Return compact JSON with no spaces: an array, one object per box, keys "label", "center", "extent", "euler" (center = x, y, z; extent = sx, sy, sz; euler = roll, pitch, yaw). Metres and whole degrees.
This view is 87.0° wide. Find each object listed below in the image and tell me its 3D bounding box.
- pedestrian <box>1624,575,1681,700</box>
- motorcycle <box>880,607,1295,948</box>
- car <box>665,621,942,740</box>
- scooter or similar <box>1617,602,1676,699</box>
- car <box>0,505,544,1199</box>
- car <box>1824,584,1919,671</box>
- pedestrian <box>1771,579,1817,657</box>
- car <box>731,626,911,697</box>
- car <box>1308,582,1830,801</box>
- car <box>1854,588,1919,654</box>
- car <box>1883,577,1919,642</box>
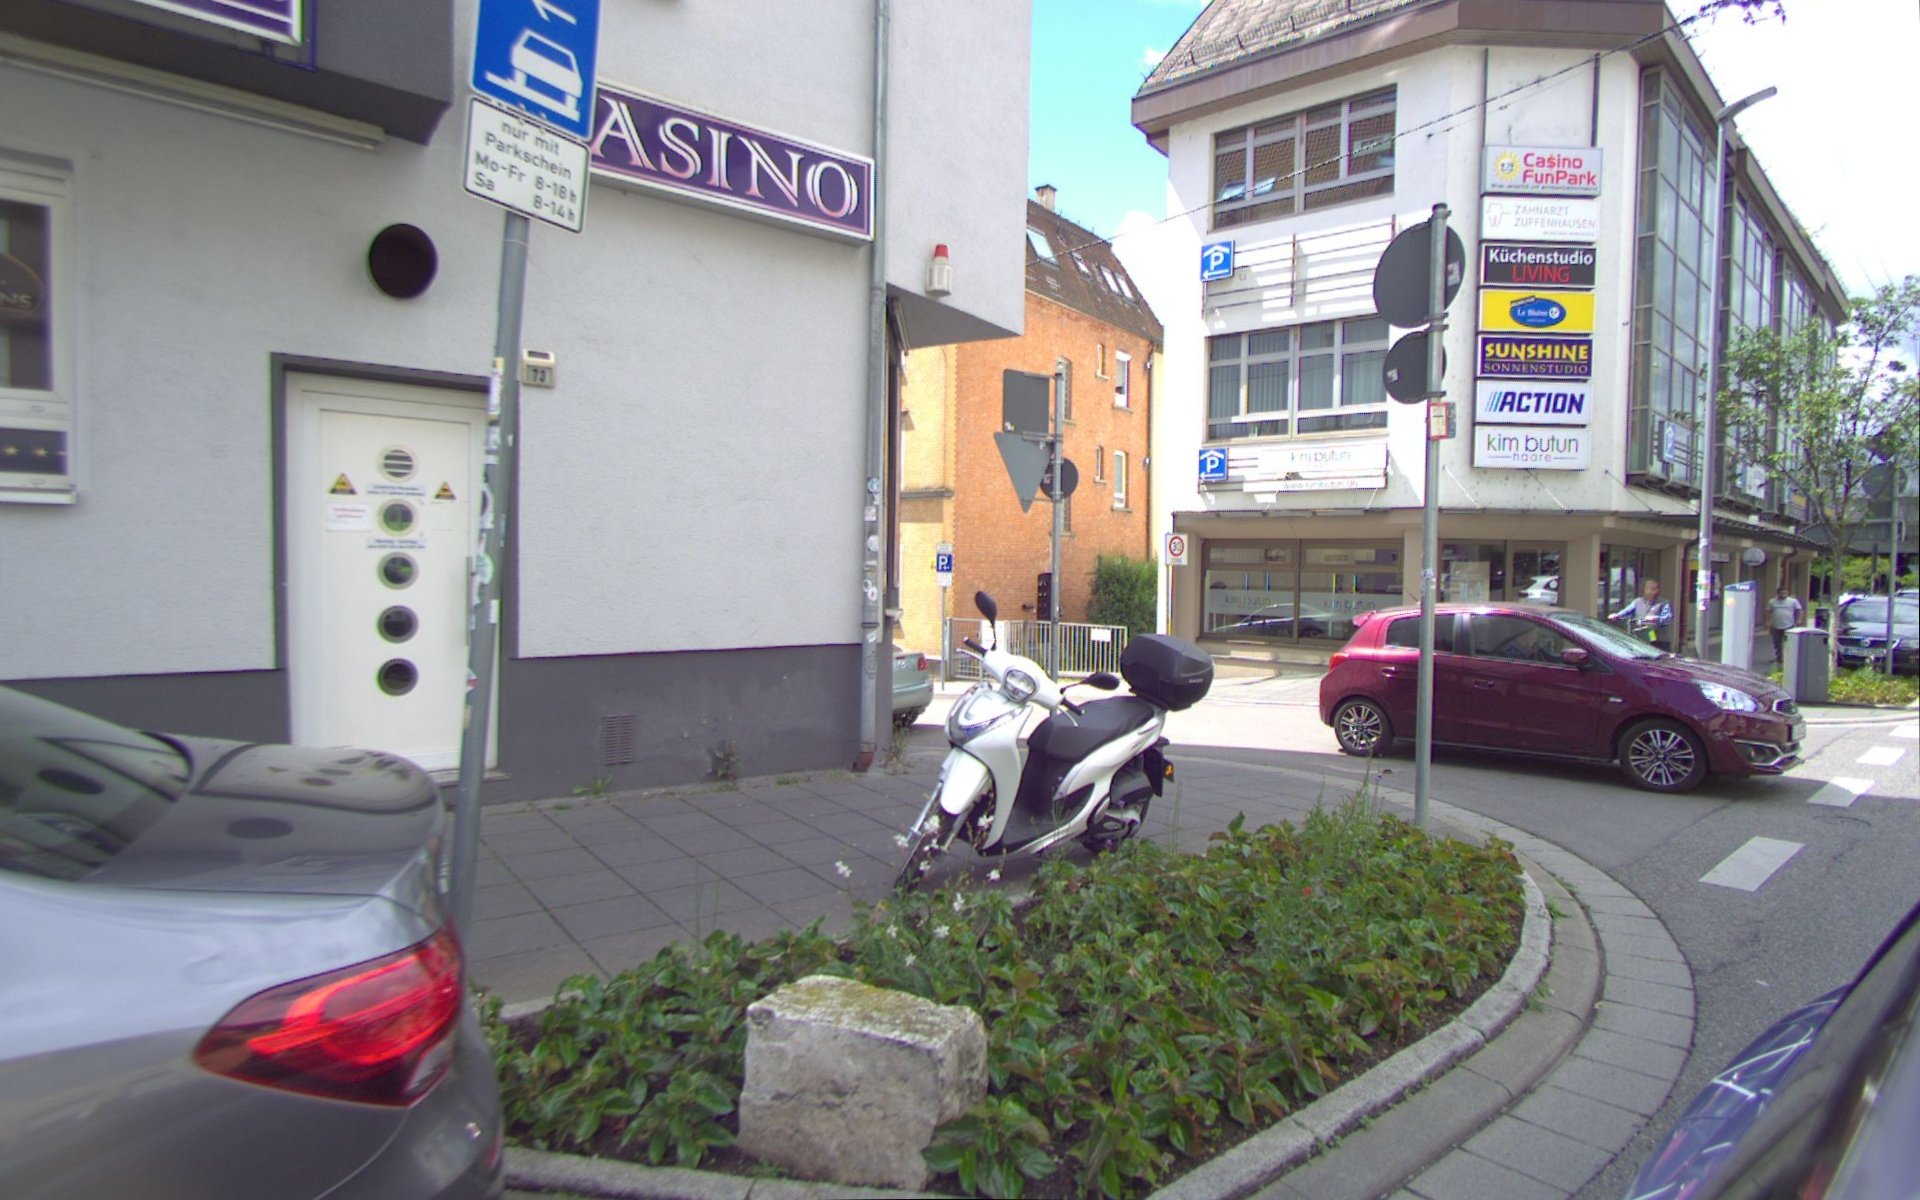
[{"label":"pedestrian","center":[9.759,0.509,14.263],"extent":[0.474,1.724,0.571],"euler":[-1,0,-45]},{"label":"motorcycle","center":[0.738,0.699,4.973],"extent":[2.335,1.275,0.660],"euler":[-1,1,-42]},{"label":"car","center":[-2.325,1.130,14.491],"extent":[3.873,1.417,1.822],"euler":[-5,-3,41]},{"label":"scooter or similar","center":[9.752,0.688,14.368],"extent":[1.228,1.296,0.431],"euler":[-1,0,-43]},{"label":"car","center":[-2.725,0.644,0.719],"extent":[4.237,1.438,1.712],"euler":[-1,1,-35]},{"label":"car","center":[17.931,0.465,19.185],"extent":[4.472,1.472,1.718],"euler":[0,1,-41]},{"label":"pedestrian","center":[17.226,0.353,20.911],"extent":[0.469,1.582,0.660],"euler":[-1,0,-41]},{"label":"car","center":[-3.093,1.295,22.153],"extent":[3.874,1.417,1.822],"euler":[-2,-3,41]},{"label":"car","center":[5.225,0.627,9.113],"extent":[1.509,1.549,3.755],"euler":[-1,1,-38]},{"label":"car","center":[23.115,0.482,24.416],"extent":[4.459,1.463,1.854],"euler":[0,1,-43]},{"label":"car","center":[27.199,0.275,27.919],"extent":[4.385,1.681,1.826],"euler":[0,3,-39]}]
